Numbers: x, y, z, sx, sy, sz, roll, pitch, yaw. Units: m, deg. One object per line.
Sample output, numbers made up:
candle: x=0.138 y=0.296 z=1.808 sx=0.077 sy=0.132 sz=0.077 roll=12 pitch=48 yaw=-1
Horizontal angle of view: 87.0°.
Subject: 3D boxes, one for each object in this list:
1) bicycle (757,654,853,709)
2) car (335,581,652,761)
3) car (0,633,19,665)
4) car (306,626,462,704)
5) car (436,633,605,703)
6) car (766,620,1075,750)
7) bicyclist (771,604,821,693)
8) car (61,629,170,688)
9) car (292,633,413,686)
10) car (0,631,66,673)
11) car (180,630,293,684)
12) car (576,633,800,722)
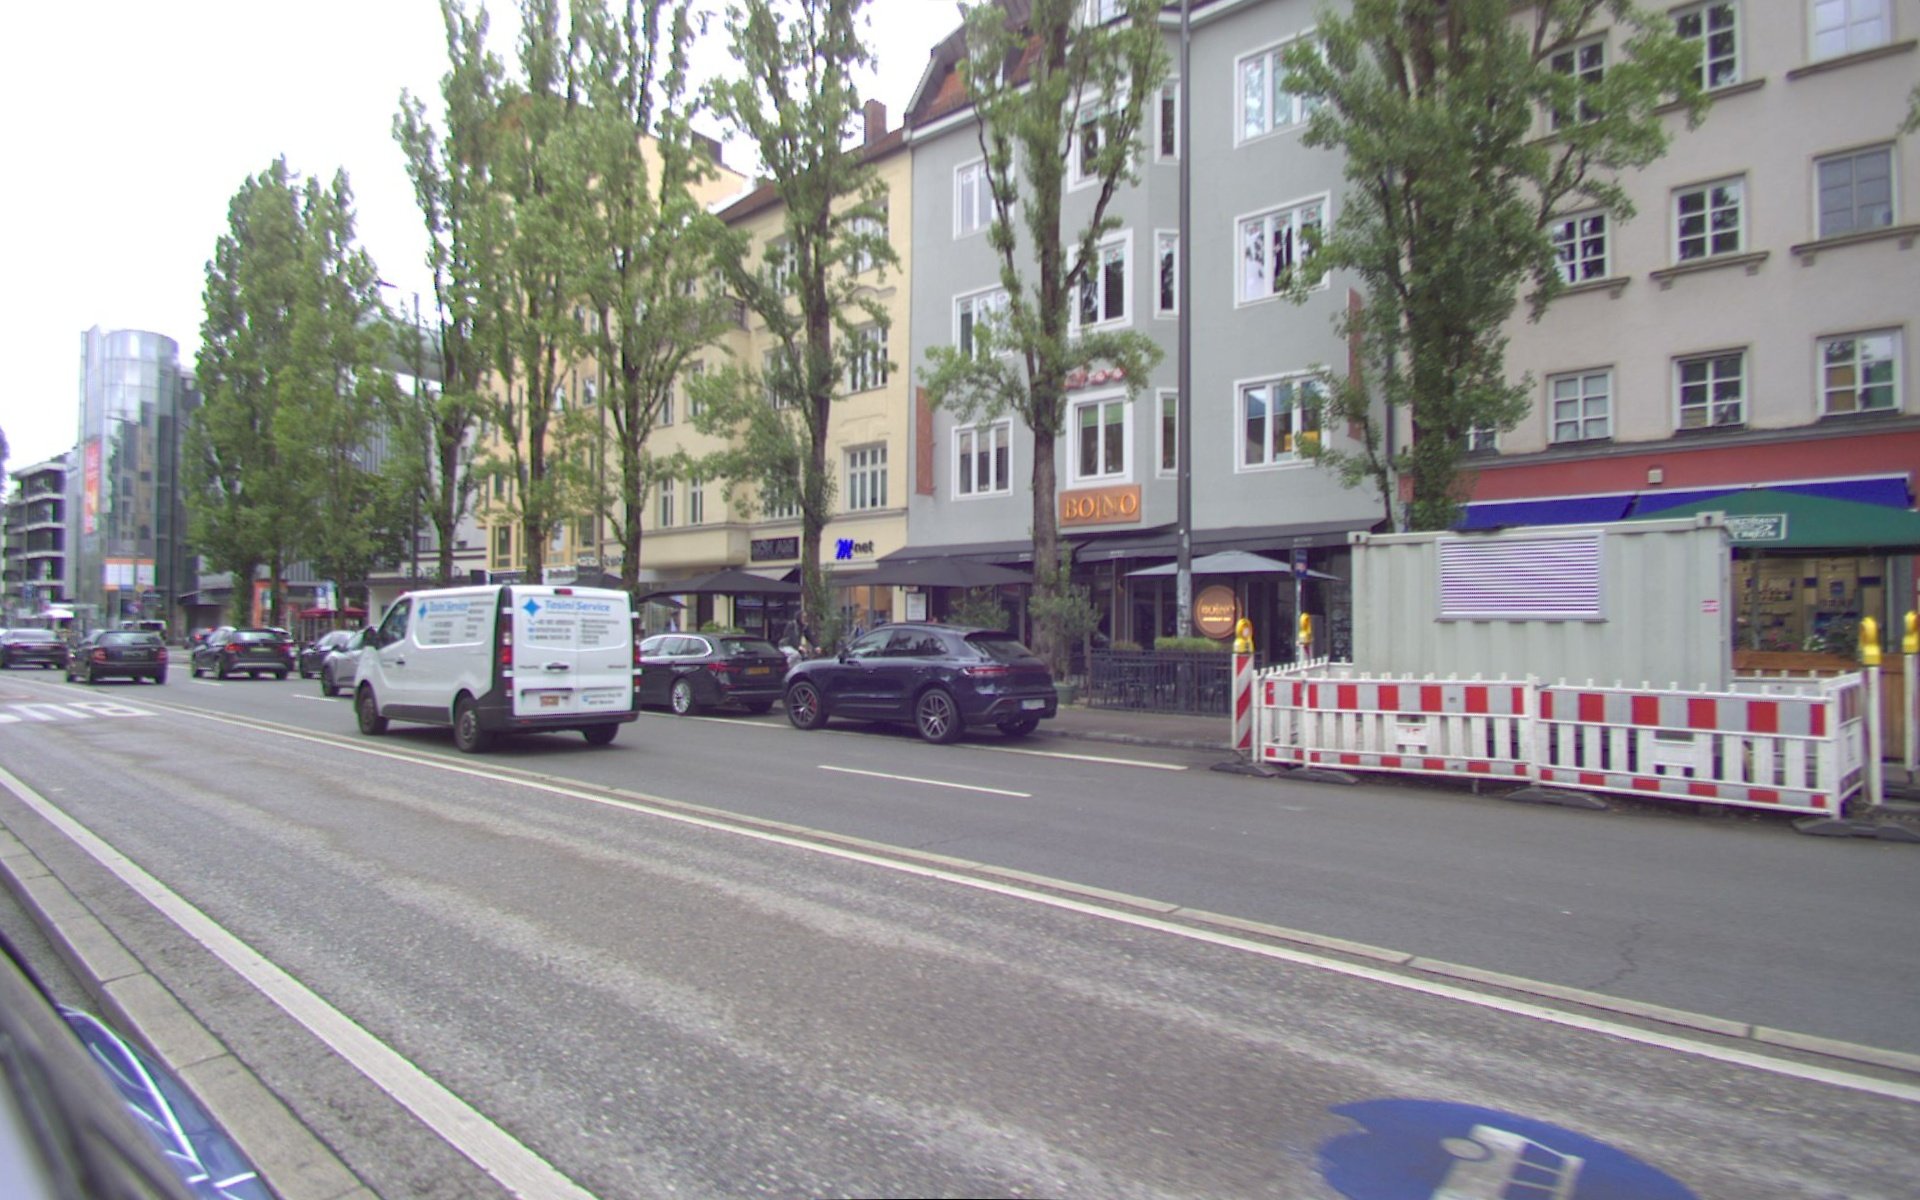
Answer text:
bicycle: x=-3.071 y=1.575 z=19.889 sx=2.173 sy=0.976 sz=0.605 roll=-2 pitch=-2 yaw=41
car: x=-6.304 y=0.852 z=13.355 sx=5.069 sy=1.947 sz=1.872 roll=-2 pitch=-3 yaw=41
car: x=-43.930 y=2.192 z=45.402 sx=4.075 sy=1.410 sz=1.761 roll=-1 pitch=-3 yaw=36
car: x=-12.669 y=1.367 z=22.184 sx=4.074 sy=1.553 sz=1.696 roll=-2 pitch=-4 yaw=41
car: x=-10.191 y=1.498 z=23.305 sx=4.572 sy=1.451 sz=1.778 roll=-2 pitch=-3 yaw=41
car: x=-0.704 y=1.143 z=14.871 sx=4.572 sy=1.625 sz=1.778 roll=-2 pitch=-3 yaw=41
bicyclist: x=-3.242 y=0.942 z=20.055 sx=0.816 sy=1.718 sz=0.598 roll=-1 pitch=-2 yaw=42
car: x=-22.306 y=1.502 z=26.695 sx=3.593 sy=1.451 sz=1.596 roll=-2 pitch=-3 yaw=40
car: x=-18.301 y=1.739 z=30.414 sx=4.572 sy=1.451 sz=1.778 roll=-2 pitch=-3 yaw=41
car: x=-33.880 y=1.849 z=36.527 sx=4.360 sy=1.410 sz=1.758 roll=-2 pitch=-3 yaw=40
car: x=-21.833 y=1.669 z=30.481 sx=4.360 sy=1.530 sz=1.728 roll=-2 pitch=-3 yaw=40
car: x=-5.154 y=1.358 z=18.831 sx=4.572 sy=1.451 sz=1.778 roll=-2 pitch=-3 yaw=41
